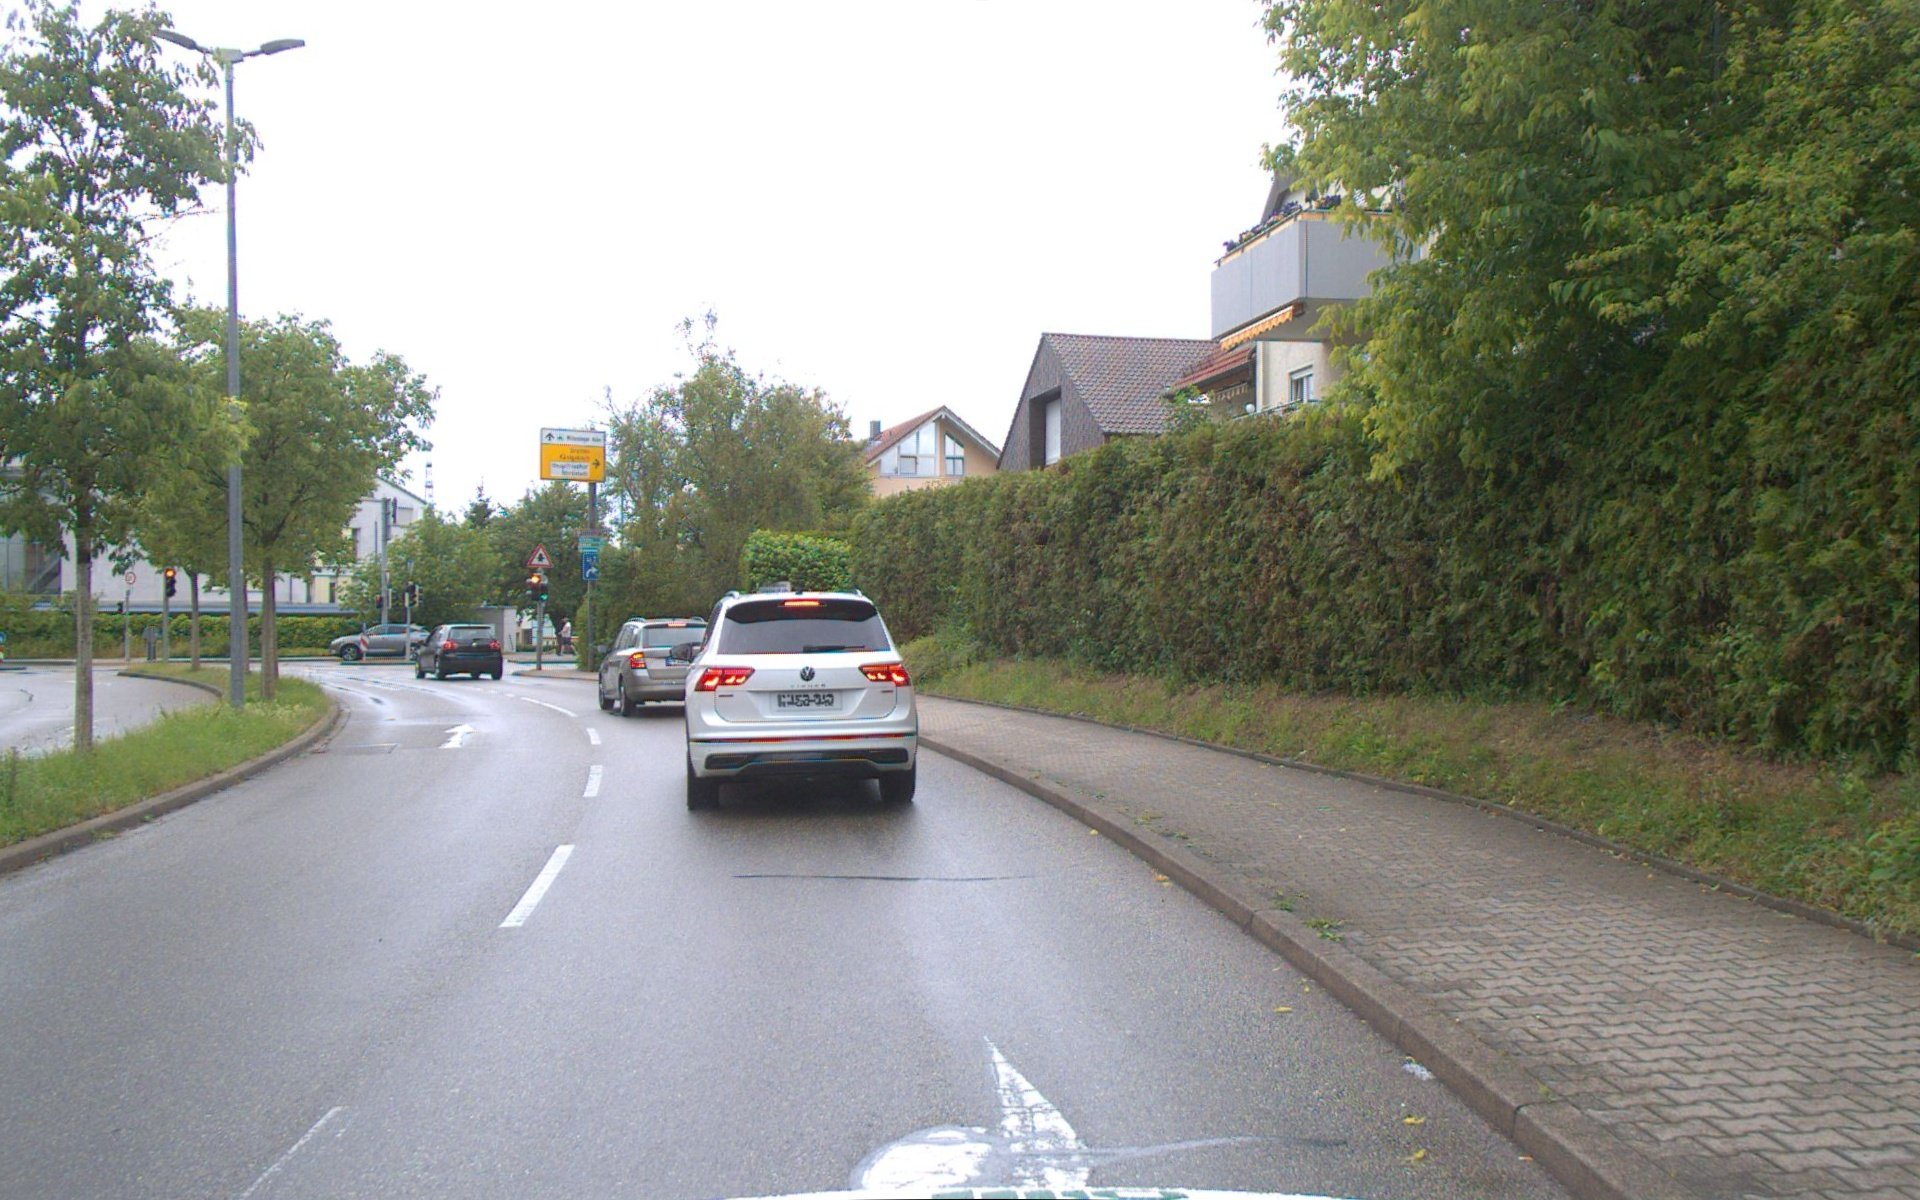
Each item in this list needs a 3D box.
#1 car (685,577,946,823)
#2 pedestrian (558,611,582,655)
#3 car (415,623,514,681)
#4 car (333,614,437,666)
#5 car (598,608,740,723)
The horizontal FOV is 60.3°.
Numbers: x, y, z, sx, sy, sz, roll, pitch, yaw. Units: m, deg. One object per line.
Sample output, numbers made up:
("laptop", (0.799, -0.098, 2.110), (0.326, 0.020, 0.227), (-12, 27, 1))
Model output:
("car", (-1.336, 0.724, 14.111), (1.885, 1.752, 4.257), (0, 0, -8))
("pedestrian", (-18.588, 1.552, 78.801), (0.793, 2.048, 0.839), (-2, 2, -36))
("car", (-13.692, 1.411, 45.591), (1.830, 1.454, 3.961), (-2, 0, -29))
("car", (-25.216, 1.735, 72.630), (3.912, 2.048, 1.978), (2, 1, -8))
("car", (-4.692, 0.983, 26.241), (1.737, 1.536, 3.982), (2, 1, -17))
